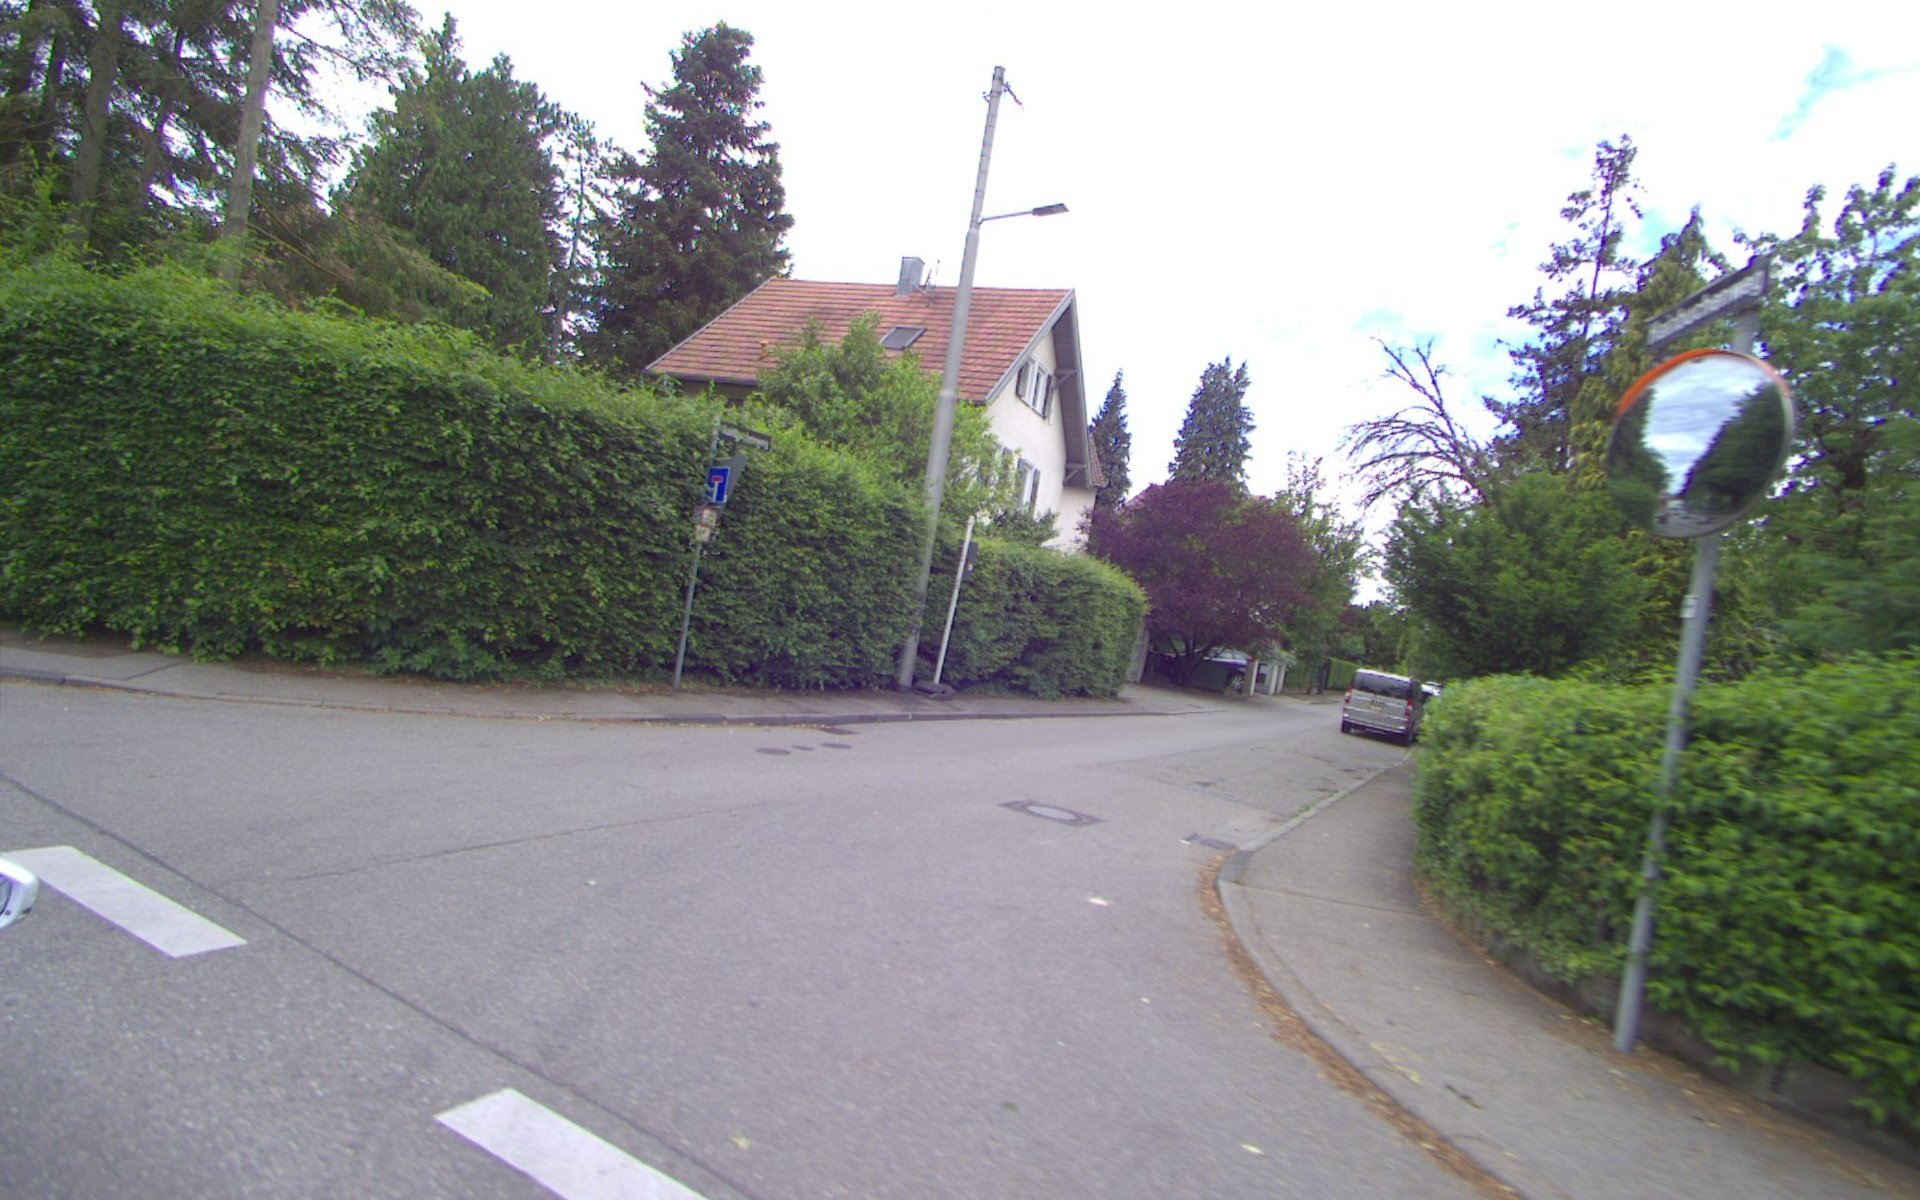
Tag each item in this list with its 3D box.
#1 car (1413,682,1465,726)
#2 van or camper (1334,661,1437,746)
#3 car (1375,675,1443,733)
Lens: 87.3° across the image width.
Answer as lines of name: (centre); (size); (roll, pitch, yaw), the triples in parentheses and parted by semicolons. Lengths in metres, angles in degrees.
car: (22.895, 4.948, 47.971); (1.965, 1.740, 3.998); (7, -2, 27)
van or camper: (12.825, 3.032, 30.098); (1.966, 2.038, 5.016); (9, 1, 31)
car: (16.661, 3.824, 37.226); (1.965, 1.740, 3.998); (7, -2, 27)
